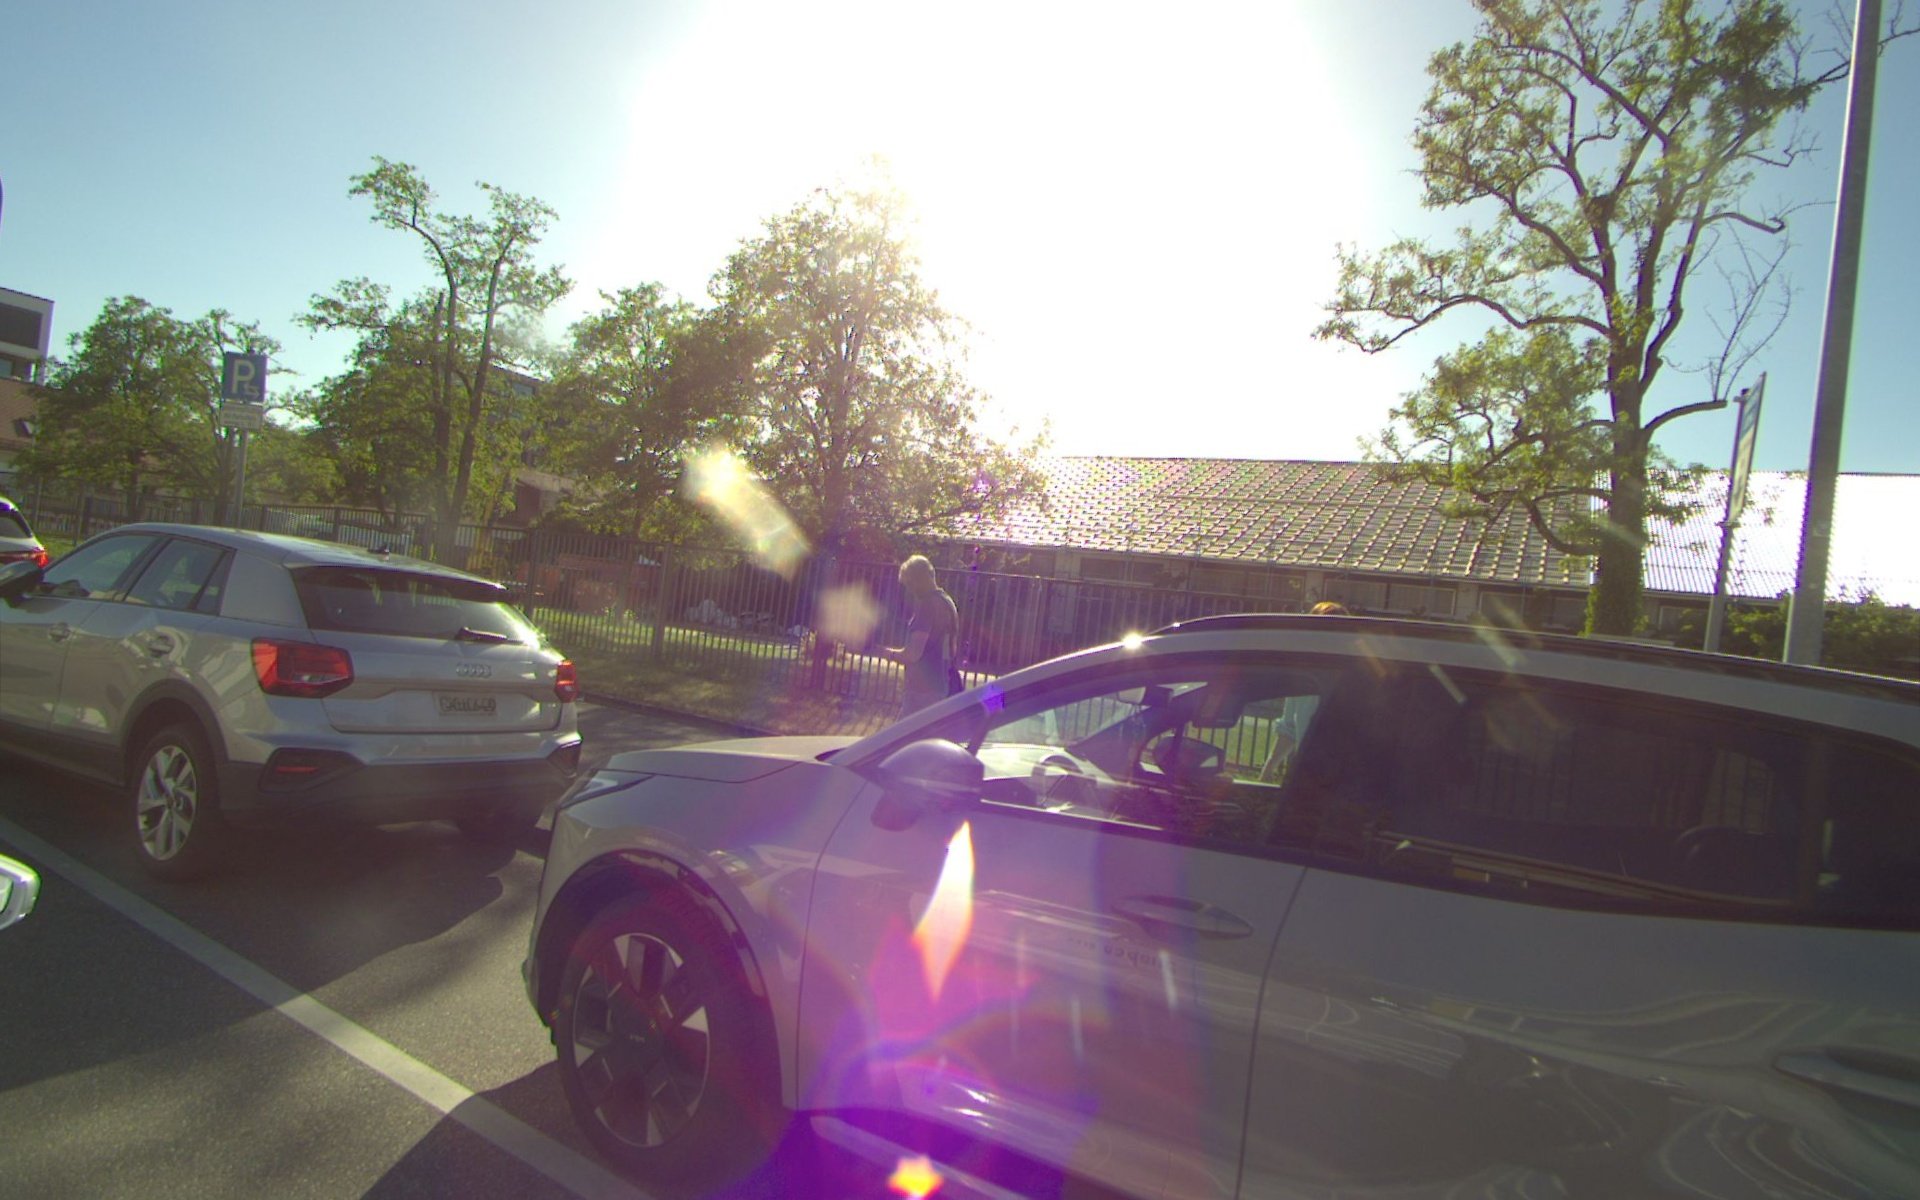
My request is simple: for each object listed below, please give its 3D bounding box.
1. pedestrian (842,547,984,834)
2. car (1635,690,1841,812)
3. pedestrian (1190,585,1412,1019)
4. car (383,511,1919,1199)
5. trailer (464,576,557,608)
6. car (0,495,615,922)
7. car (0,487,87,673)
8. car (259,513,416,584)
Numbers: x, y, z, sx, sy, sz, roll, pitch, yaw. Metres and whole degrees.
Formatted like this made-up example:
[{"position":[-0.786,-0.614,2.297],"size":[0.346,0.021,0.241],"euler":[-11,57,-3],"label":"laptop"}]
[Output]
[{"position":[-0.294,0.574,6.512],"size":[0.514,1.727,0.522],"euler":[6,-2,27],"label":"pedestrian"},{"position":[14.315,2.755,18.866],"size":[2.059,1.662,4.982],"euler":[7,-3,28],"label":"car"},{"position":[1.462,0.807,4.301],"size":[0.671,1.629,0.541],"euler":[7,-2,23],"label":"pedestrian"},{"position":[0.557,0.836,2.752],"size":[4.280,1.624,1.704],"euler":[7,-2,31],"label":"car"},{"position":[-21.125,-0.387,47.161],"size":[5.035,0.930,1.897],"euler":[6,-2,39],"label":"trailer"},{"position":[-4.038,0.367,5.538],"size":[3.911,1.504,1.706],"euler":[7,-2,28],"label":"car"},{"position":[-10.435,-0.439,9.538],"size":[4.189,1.606,1.818],"euler":[7,-2,29],"label":"car"},{"position":[-26.966,-2.192,43.739],"size":[1.969,2.228,5.286],"euler":[8,-1,37],"label":"car"}]
